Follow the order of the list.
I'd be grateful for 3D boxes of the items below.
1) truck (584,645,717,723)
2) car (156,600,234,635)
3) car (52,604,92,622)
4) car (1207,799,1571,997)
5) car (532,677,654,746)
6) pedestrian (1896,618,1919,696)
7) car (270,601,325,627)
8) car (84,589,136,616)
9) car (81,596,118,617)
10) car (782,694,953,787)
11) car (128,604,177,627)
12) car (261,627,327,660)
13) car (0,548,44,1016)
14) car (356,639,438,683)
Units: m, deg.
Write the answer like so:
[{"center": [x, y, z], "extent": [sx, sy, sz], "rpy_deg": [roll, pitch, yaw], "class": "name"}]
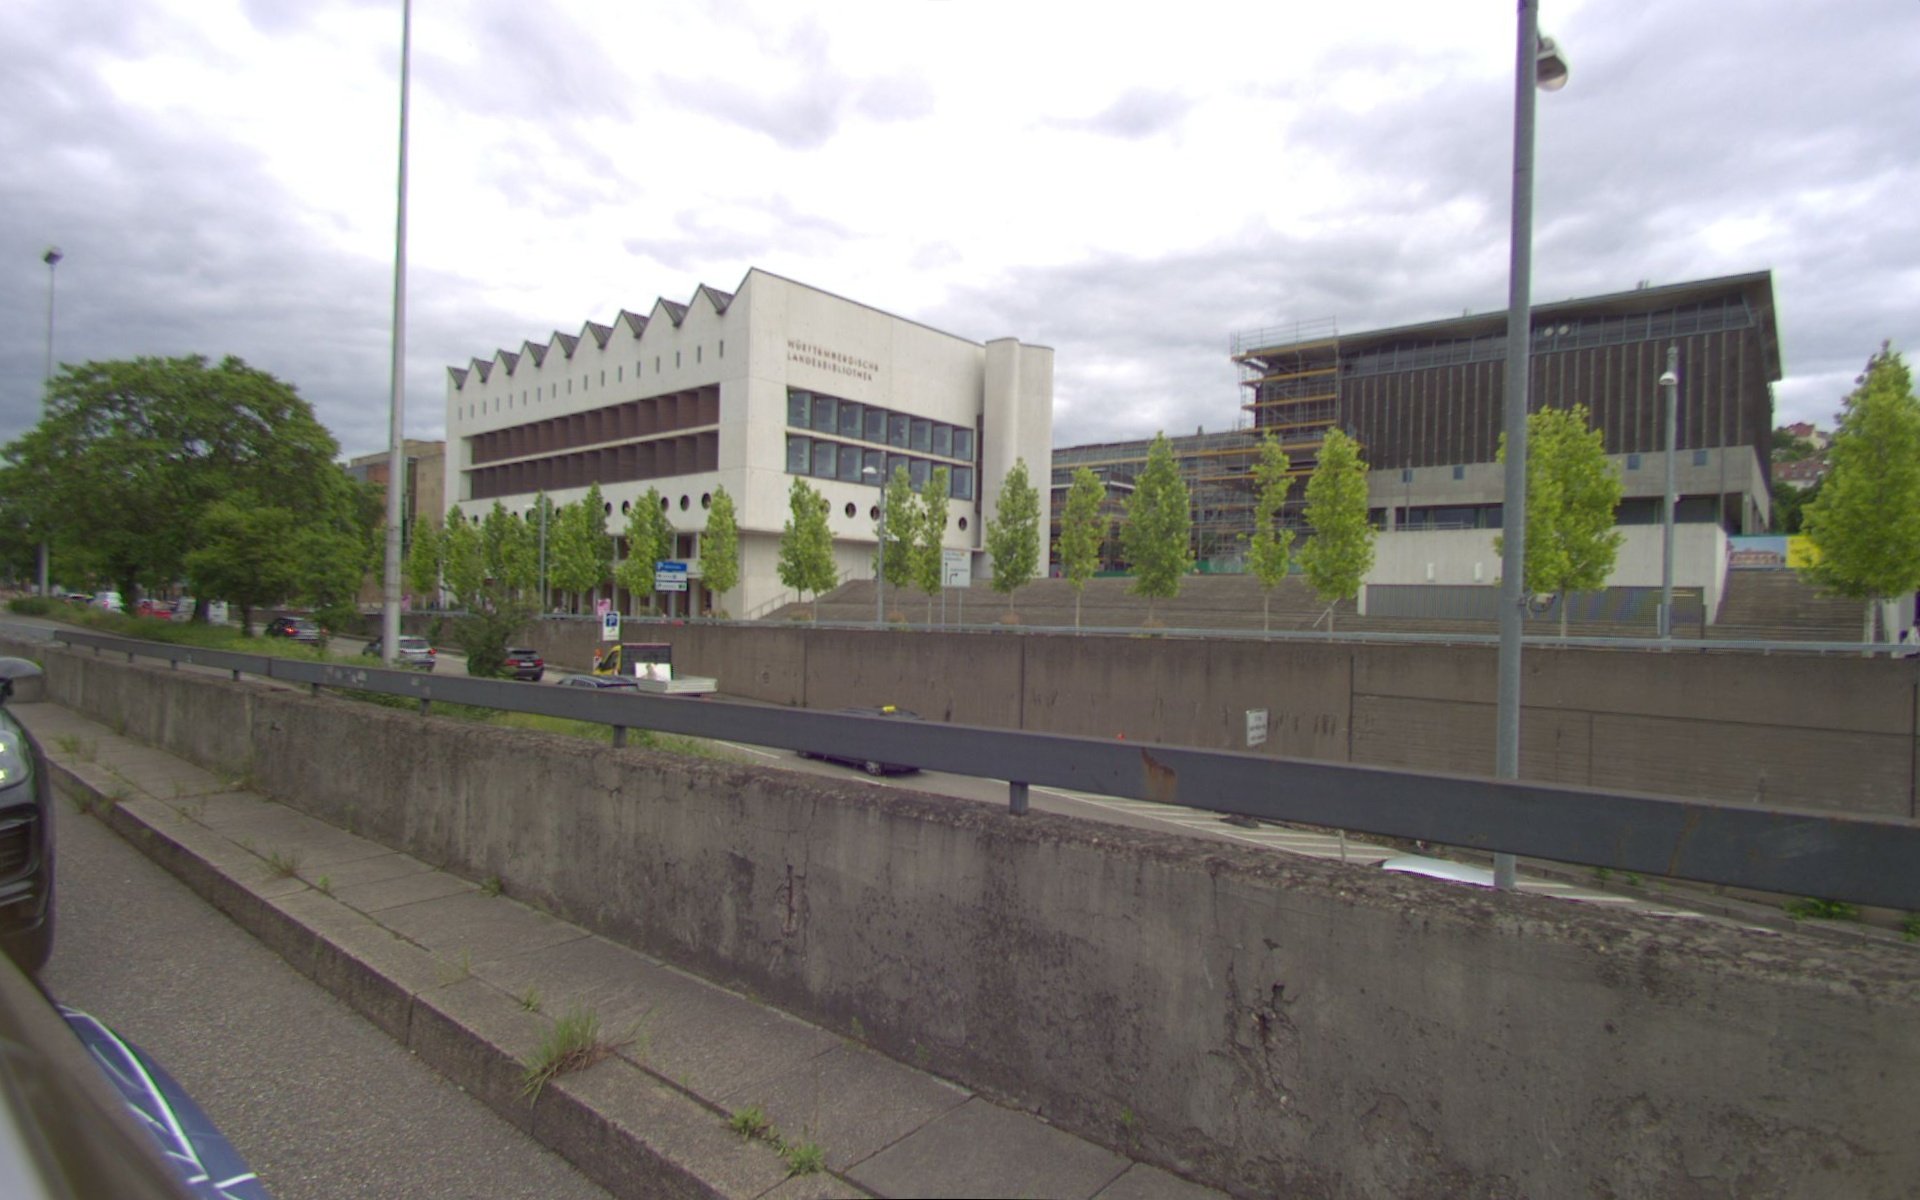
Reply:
[{"center": [-10.938, 2.851, 35.531], "extent": [5.381, 2.419, 2.157], "rpy_deg": [-2, -2, 45], "class": "truck"}, {"center": [-46.647, 1.082, 61.709], "extent": [5.101, 2.029, 2.200], "rpy_deg": [-1, -1, 33], "class": "car"}, {"center": [-74.542, 1.072, 84.946], "extent": [3.998, 1.409, 1.973], "rpy_deg": [0, -4, 41], "class": "car"}, {"center": [6.569, 4.423, 15.823], "extent": [4.837, 1.582, 2.157], "rpy_deg": [1, 2, 41], "class": "car"}, {"center": [-11.419, 3.385, 31.363], "extent": [4.167, 1.582, 1.792], "rpy_deg": [1, 2, 41], "class": "car"}, {"center": [25.423, 1.500, 26.797], "extent": [0.729, 2.029, 0.794], "rpy_deg": [1, -3, -40], "class": "pedestrian"}, {"center": [-49.552, 1.051, 75.658], "extent": [4.732, 1.869, 2.152], "rpy_deg": [-1, -2, 40], "class": "car"}, {"center": [-63.294, 0.180, 75.348], "extent": [5.247, 1.651, 1.973], "rpy_deg": [2, -5, 41], "class": "car"}, {"center": [-81.139, 0.616, 95.398], "extent": [3.998, 1.776, 1.973], "rpy_deg": [0, -3, 41], "class": "car"}, {"center": [-2.587, 3.746, 27.782], "extent": [4.393, 1.780, 2.140], "rpy_deg": [4, 0, 41], "class": "car"}, {"center": [-54.520, 1.074, 68.333], "extent": [3.999, 1.497, 1.972], "rpy_deg": [-1, -2, 42], "class": "car"}, {"center": [-34.172, 2.185, 51.856], "extent": [3.999, 1.560, 1.855], "rpy_deg": [0, -1, 42], "class": "car"}, {"center": [-5.562, 0.616, 4.491], "extent": [4.733, 1.602, 1.879], "rpy_deg": [0, 0, 44], "class": "car"}, {"center": [-23.869, 2.533, 42.865], "extent": [3.903, 1.553, 1.696], "rpy_deg": [1, 2, 39], "class": "car"}]
